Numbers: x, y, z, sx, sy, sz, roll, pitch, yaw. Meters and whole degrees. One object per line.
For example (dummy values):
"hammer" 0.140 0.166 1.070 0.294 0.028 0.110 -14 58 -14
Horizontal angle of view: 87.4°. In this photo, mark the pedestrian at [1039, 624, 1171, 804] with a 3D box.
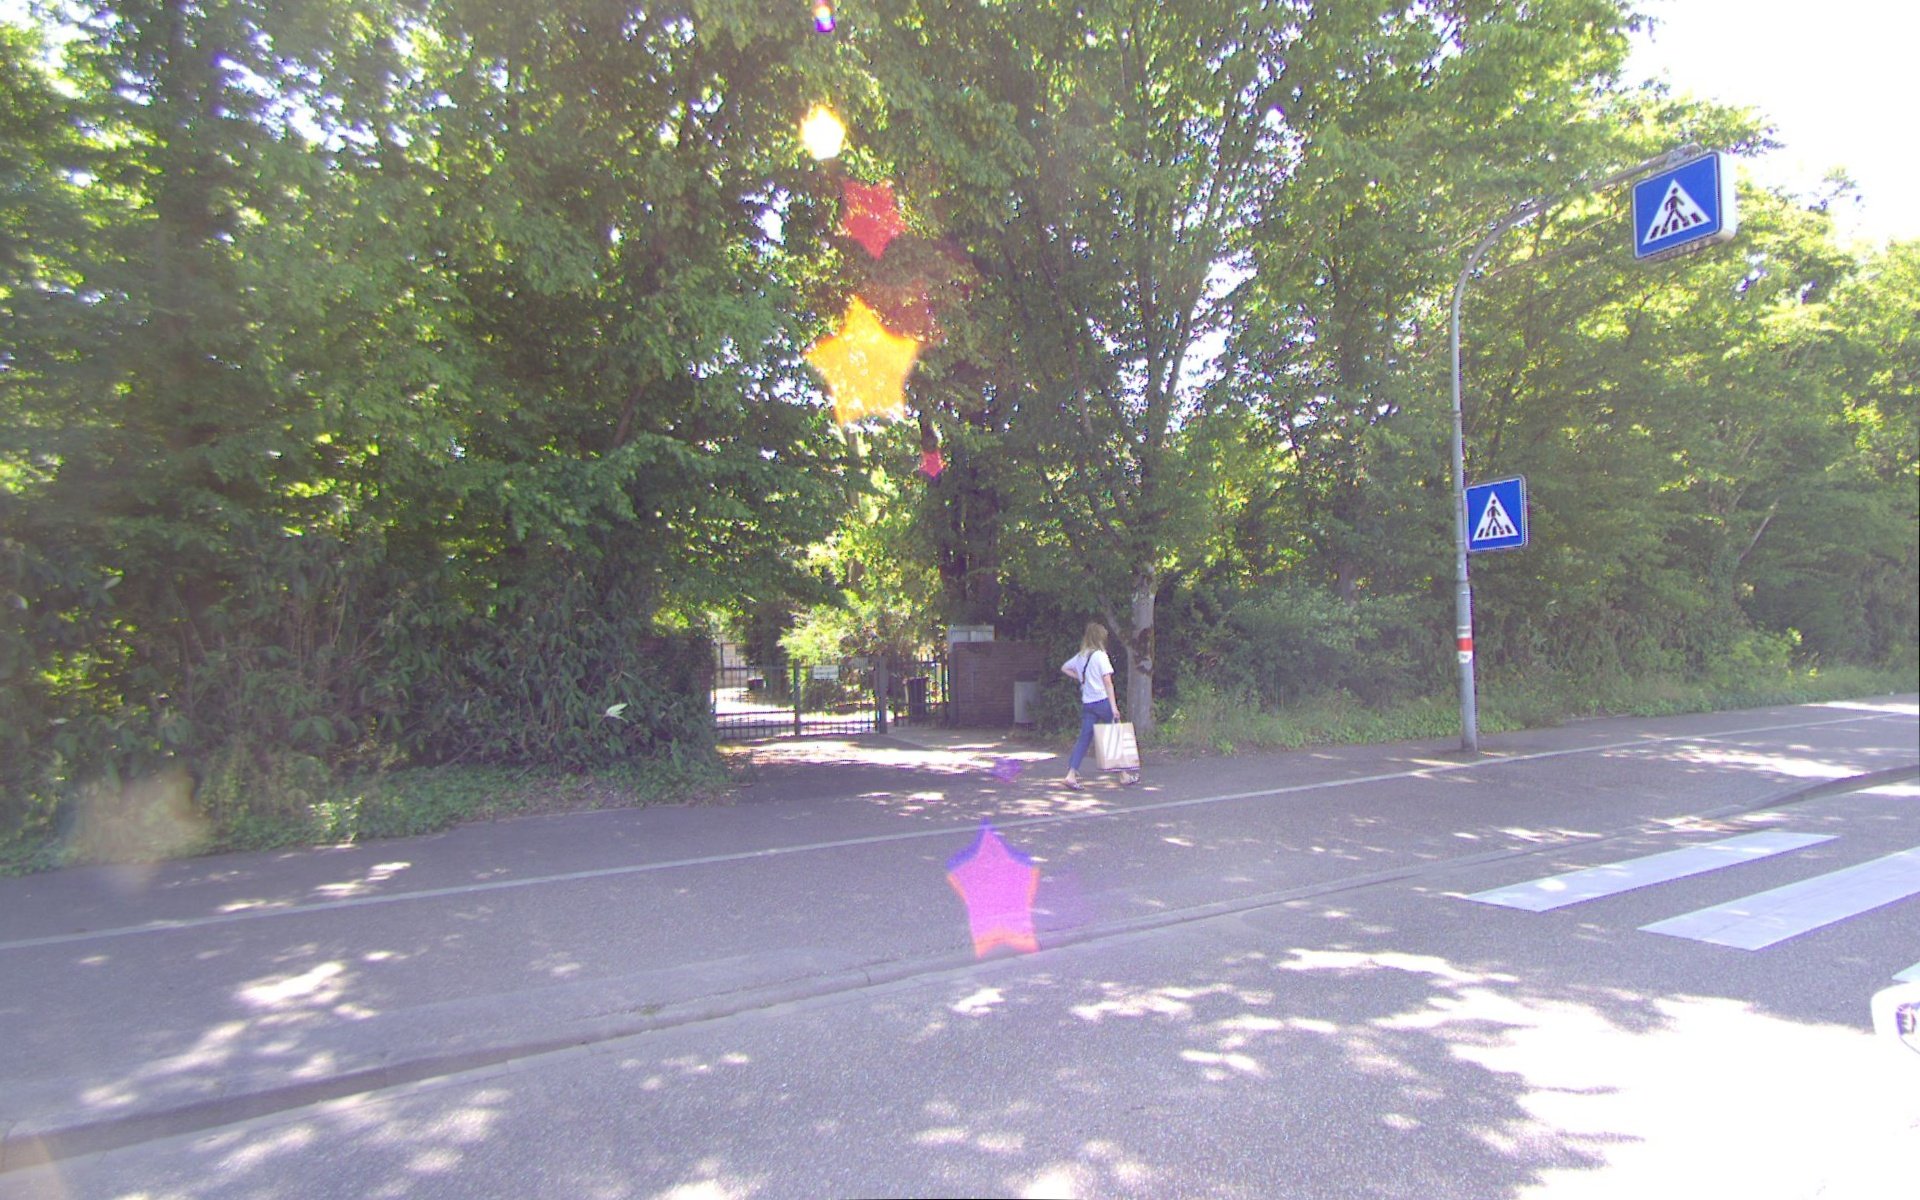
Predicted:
"pedestrian" 1.406 1.061 9.818 0.875 1.634 0.928 0 -1 -30
